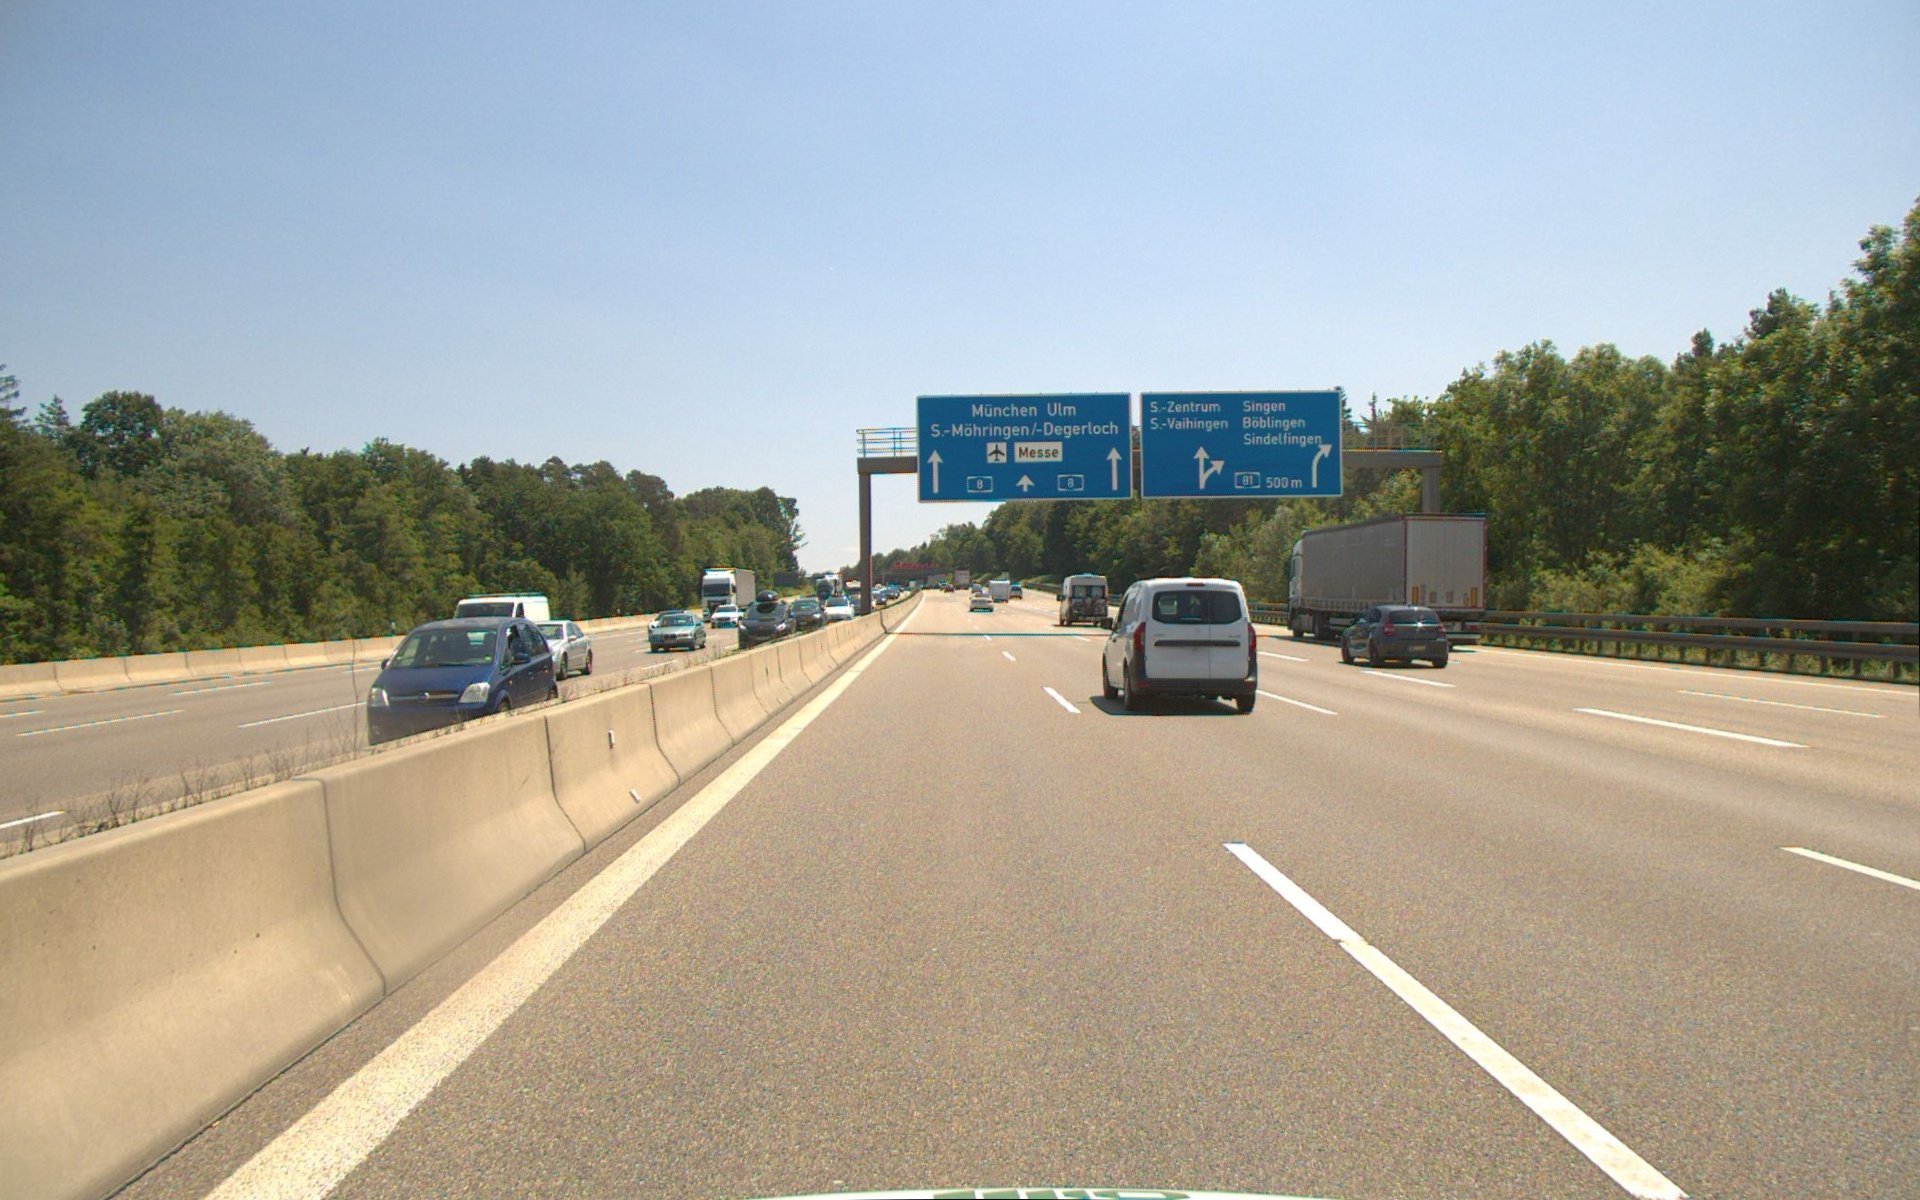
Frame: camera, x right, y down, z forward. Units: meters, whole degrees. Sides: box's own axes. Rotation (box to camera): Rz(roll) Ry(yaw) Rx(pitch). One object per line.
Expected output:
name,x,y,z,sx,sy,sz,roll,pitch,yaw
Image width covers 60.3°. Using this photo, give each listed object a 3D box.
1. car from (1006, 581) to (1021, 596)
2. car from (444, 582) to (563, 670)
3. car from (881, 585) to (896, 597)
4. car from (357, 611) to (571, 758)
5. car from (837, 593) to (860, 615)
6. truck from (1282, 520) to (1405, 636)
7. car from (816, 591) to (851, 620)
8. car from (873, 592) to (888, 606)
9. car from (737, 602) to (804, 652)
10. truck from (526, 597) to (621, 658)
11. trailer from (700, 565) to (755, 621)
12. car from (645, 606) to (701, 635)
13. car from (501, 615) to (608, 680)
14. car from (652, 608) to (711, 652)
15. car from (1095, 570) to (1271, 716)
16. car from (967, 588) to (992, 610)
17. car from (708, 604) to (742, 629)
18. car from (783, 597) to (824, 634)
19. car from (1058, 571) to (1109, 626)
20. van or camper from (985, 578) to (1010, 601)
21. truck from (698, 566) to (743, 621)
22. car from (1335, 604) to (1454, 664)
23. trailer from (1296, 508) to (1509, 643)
car,7.018,-1.520,217.723,1.783,1.892,3.999,-1,0,-1
car,-14.224,0.797,51.966,1.891,2.455,6.624,-3,-1,-1
car,-10.066,-1.324,233.742,1.953,1.646,3.999,-1,0,-1
car,-6.363,1.018,21.626,1.670,1.691,3.759,-1,0,-1
car,-8.532,0.277,126.719,1.506,1.577,4.069,-1,0,-2
truck,14.463,-0.806,62.850,3.188,4.178,5.986,0,0,-1
car,-7.834,0.307,102.784,1.775,1.702,4.475,-2,0,-1
car,-8.916,-0.110,185.334,1.688,1.564,5.052,-1,0,-3
car,-6.862,0.940,60.484,1.832,1.634,5.227,-2,0,-1
truck,-16.239,1.111,69.950,2.460,2.284,6.439,-3,0,-1
trailer,-19.232,-0.474,137.638,2.699,4.320,13.715,-2,-1,-1
car,-14.179,0.983,81.903,1.952,1.329,4.844,-1,0,-1
car,-10.324,1.176,42.448,1.644,1.469,4.525,-3,0,-1
car,-10.401,1.104,61.935,1.517,1.480,3.839,-3,0,-1
car,3.136,0.582,24.129,1.822,1.858,4.611,-2,0,-1
car,1.571,-0.048,133.440,1.806,1.657,4.552,-2,-1,-1
car,-15.458,1.071,109.023,1.629,1.480,3.839,-3,0,-1
car,-7.682,0.725,81.325,1.719,1.702,4.202,-2,0,-2
car,6.228,-0.103,83.888,2.100,2.698,5.709,0,0,-1
van or camper,4.328,-1.192,192.906,2.591,2.583,6.500,-2,0,-1
truck,-19.202,-0.480,132.934,2.704,4.294,6.376,-2,-1,-1
car,10.174,0.761,39.032,1.636,1.296,4.289,1,0,-1
trailer,14.602,-0.716,56.192,3.221,3.999,13.886,0,0,-1
